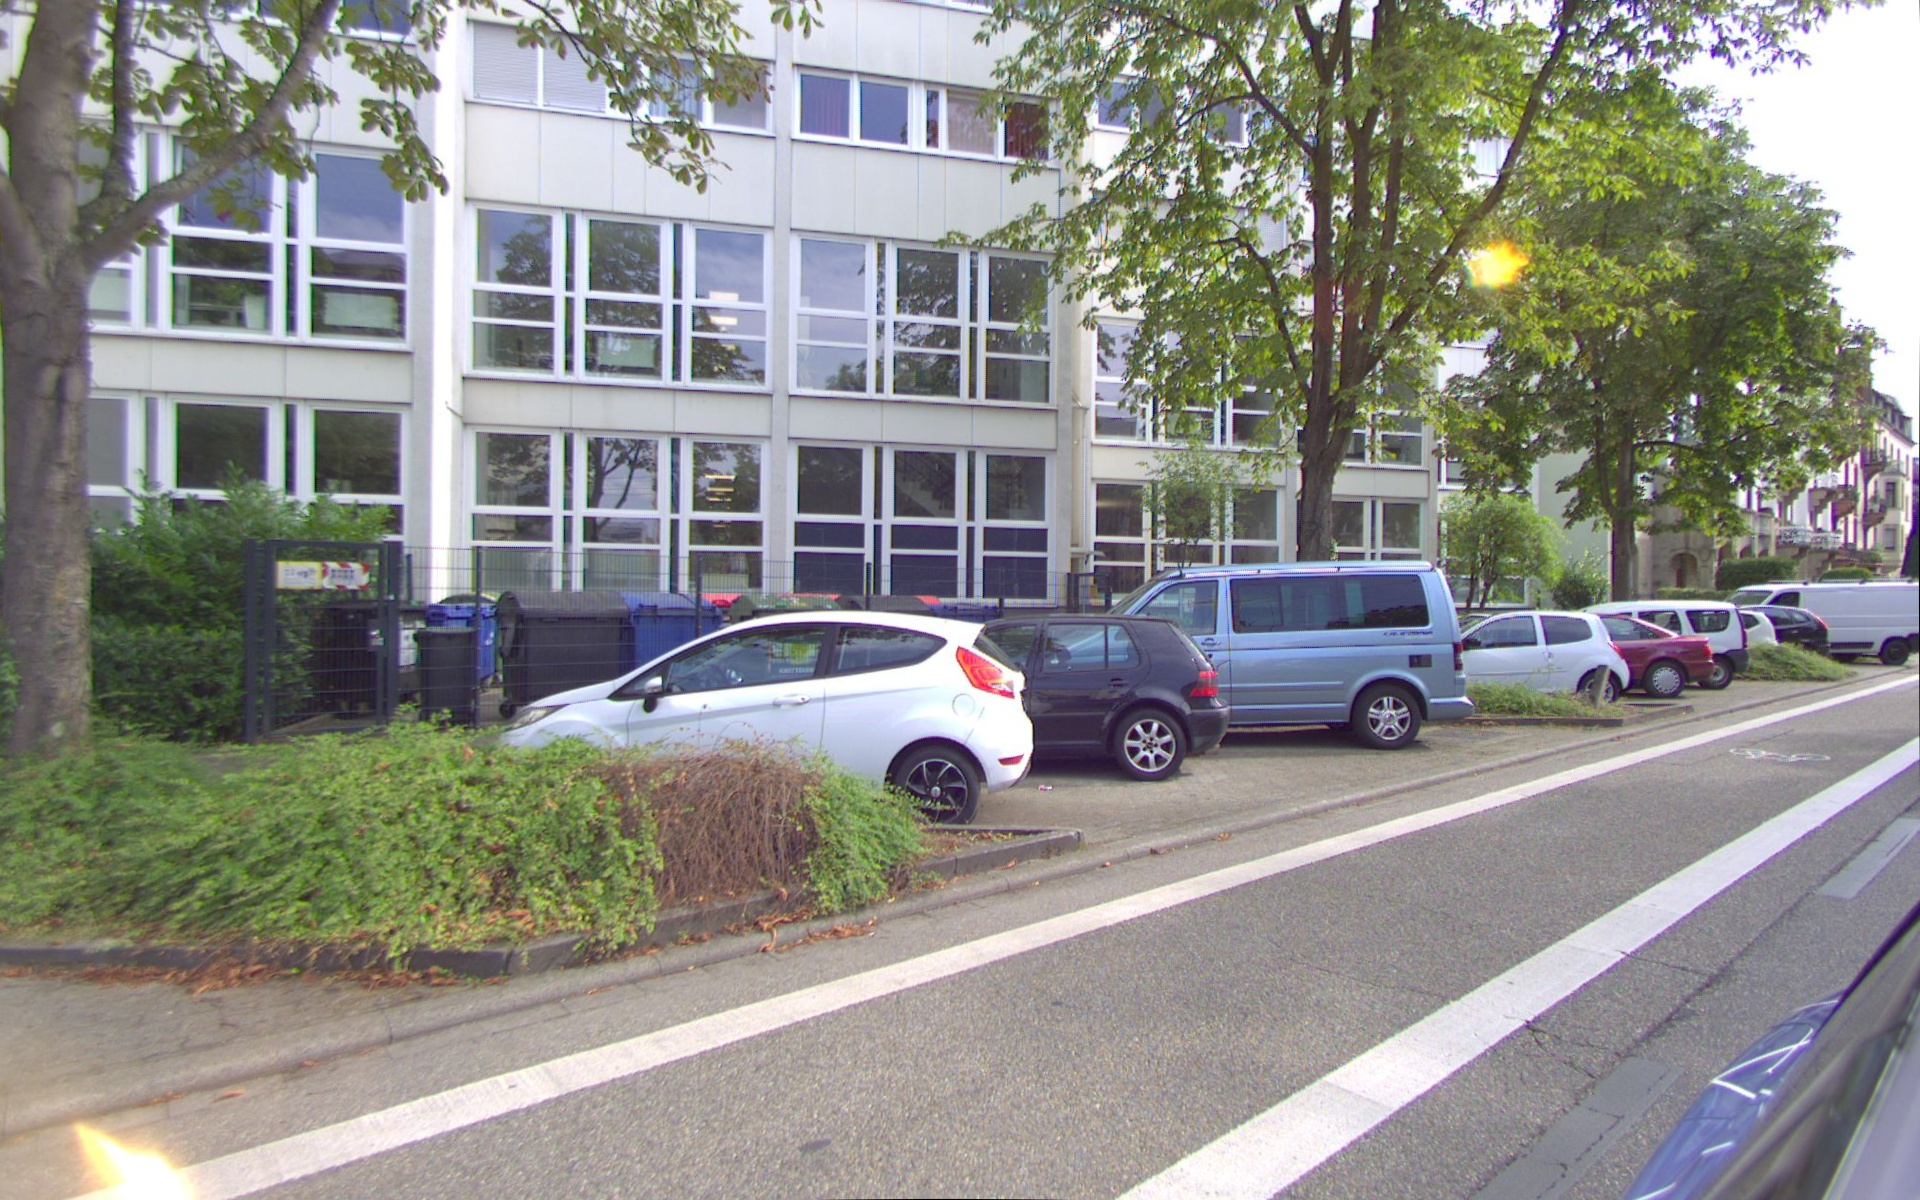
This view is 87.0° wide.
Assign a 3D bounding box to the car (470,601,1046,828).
[{"bbox_3d":[-1.301,0.729,7.378,3.792,1.410,1.632,0,0,4],"label":"car"}]

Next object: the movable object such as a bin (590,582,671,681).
[{"bbox_3d":[-5.479,0.498,16.908,1.150,1.588,1.182,0,0,-12],"label":"movable object such as a bin"}]

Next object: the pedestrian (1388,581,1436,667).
[{"bbox_3d":[9.956,0.515,22.310,0.761,1.851,0.714,1,0,-41],"label":"pedestrian"}]

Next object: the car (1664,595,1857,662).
[{"bbox_3d":[20.746,0.692,26.409,3.605,1.609,1.753,0,1,24],"label":"car"}]

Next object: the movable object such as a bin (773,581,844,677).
[{"bbox_3d":[-2.627,0.476,17.446,1.150,1.588,1.182,0,0,-12],"label":"movable object such as a bin"}]

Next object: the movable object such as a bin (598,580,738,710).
[{"bbox_3d":[-3.683,0.519,12.734,1.312,1.523,1.335,0,0,-36],"label":"movable object such as a bin"}]

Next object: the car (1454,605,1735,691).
[{"bbox_3d":[10.895,0.788,17.641,3.708,1.355,1.810,0,0,9],"label":"car"}]

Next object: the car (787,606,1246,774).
[{"bbox_3d":[0.506,0.771,9.541,3.902,1.405,1.812,0,-1,5],"label":"car"}]

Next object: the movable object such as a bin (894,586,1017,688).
[{"bbox_3d":[-0.075,0.527,15.502,1.374,1.477,1.335,0,0,-36],"label":"movable object such as a bin"}]

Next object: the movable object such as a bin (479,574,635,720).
[{"bbox_3d":[-4.675,0.495,11.708,1.389,1.549,1.330,0,0,-36],"label":"movable object such as a bin"}]

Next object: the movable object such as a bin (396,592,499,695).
[{"bbox_3d":[-7.289,0.589,14.462,1.155,1.387,1.177,0,0,-19],"label":"movable object such as a bin"}]

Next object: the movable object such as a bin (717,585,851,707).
[{"bbox_3d":[-2.376,0.573,13.612,1.328,1.521,1.335,0,0,-36],"label":"movable object such as a bin"}]

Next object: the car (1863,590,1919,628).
[{"bbox_3d":[44.758,0.407,47.130,3.605,1.697,1.753,0,0,24],"label":"car"}]

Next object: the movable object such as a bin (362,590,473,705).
[{"bbox_3d":[-7.012,0.583,13.151,1.095,1.409,1.065,0,0,-19],"label":"movable object such as a bin"}]

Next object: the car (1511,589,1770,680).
[{"bbox_3d":[13.014,0.616,19.578,3.708,1.638,1.810,0,0,9],"label":"car"}]

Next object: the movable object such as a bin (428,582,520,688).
[{"bbox_3d":[-7.562,0.519,15.813,1.155,1.588,1.177,0,0,-19],"label":"movable object such as a bin"}]

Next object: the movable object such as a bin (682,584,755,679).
[{"bbox_3d":[-4.045,0.503,17.051,1.150,1.533,1.182,0,0,-12],"label":"movable object such as a bin"}]

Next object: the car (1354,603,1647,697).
[{"bbox_3d":[8.257,0.729,15.740,3.580,1.347,1.766,0,0,5],"label":"car"}]

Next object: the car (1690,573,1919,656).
[{"bbox_3d":[23.945,0.376,28.240,5.349,2.203,2.143,0,0,9],"label":"car"}]

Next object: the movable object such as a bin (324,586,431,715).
[{"bbox_3d":[-6.777,0.561,11.836,0.893,1.425,1.026,0,0,-19],"label":"movable object such as a bin"}]

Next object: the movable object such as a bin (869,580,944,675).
[{"bbox_3d":[-0.958,0.462,17.747,1.150,1.588,1.182,0,0,-12],"label":"movable object such as a bin"}]

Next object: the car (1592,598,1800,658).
[{"bbox_3d":[17.400,0.635,24.076,3.580,1.347,1.766,0,0,5],"label":"car"}]

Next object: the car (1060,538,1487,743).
[{"bbox_3d":[3.316,0.401,11.491,4.268,2.090,1.998,0,0,5],"label":"car"}]

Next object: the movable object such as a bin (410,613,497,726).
[{"bbox_3d":[-5.372,0.711,10.722,0.729,1.119,0.786,0,0,-34],"label":"movable object such as a bin"}]

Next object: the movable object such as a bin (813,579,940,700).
[{"bbox_3d":[-1.202,0.518,14.467,1.328,1.616,1.335,0,0,-36],"label":"movable object such as a bin"}]
